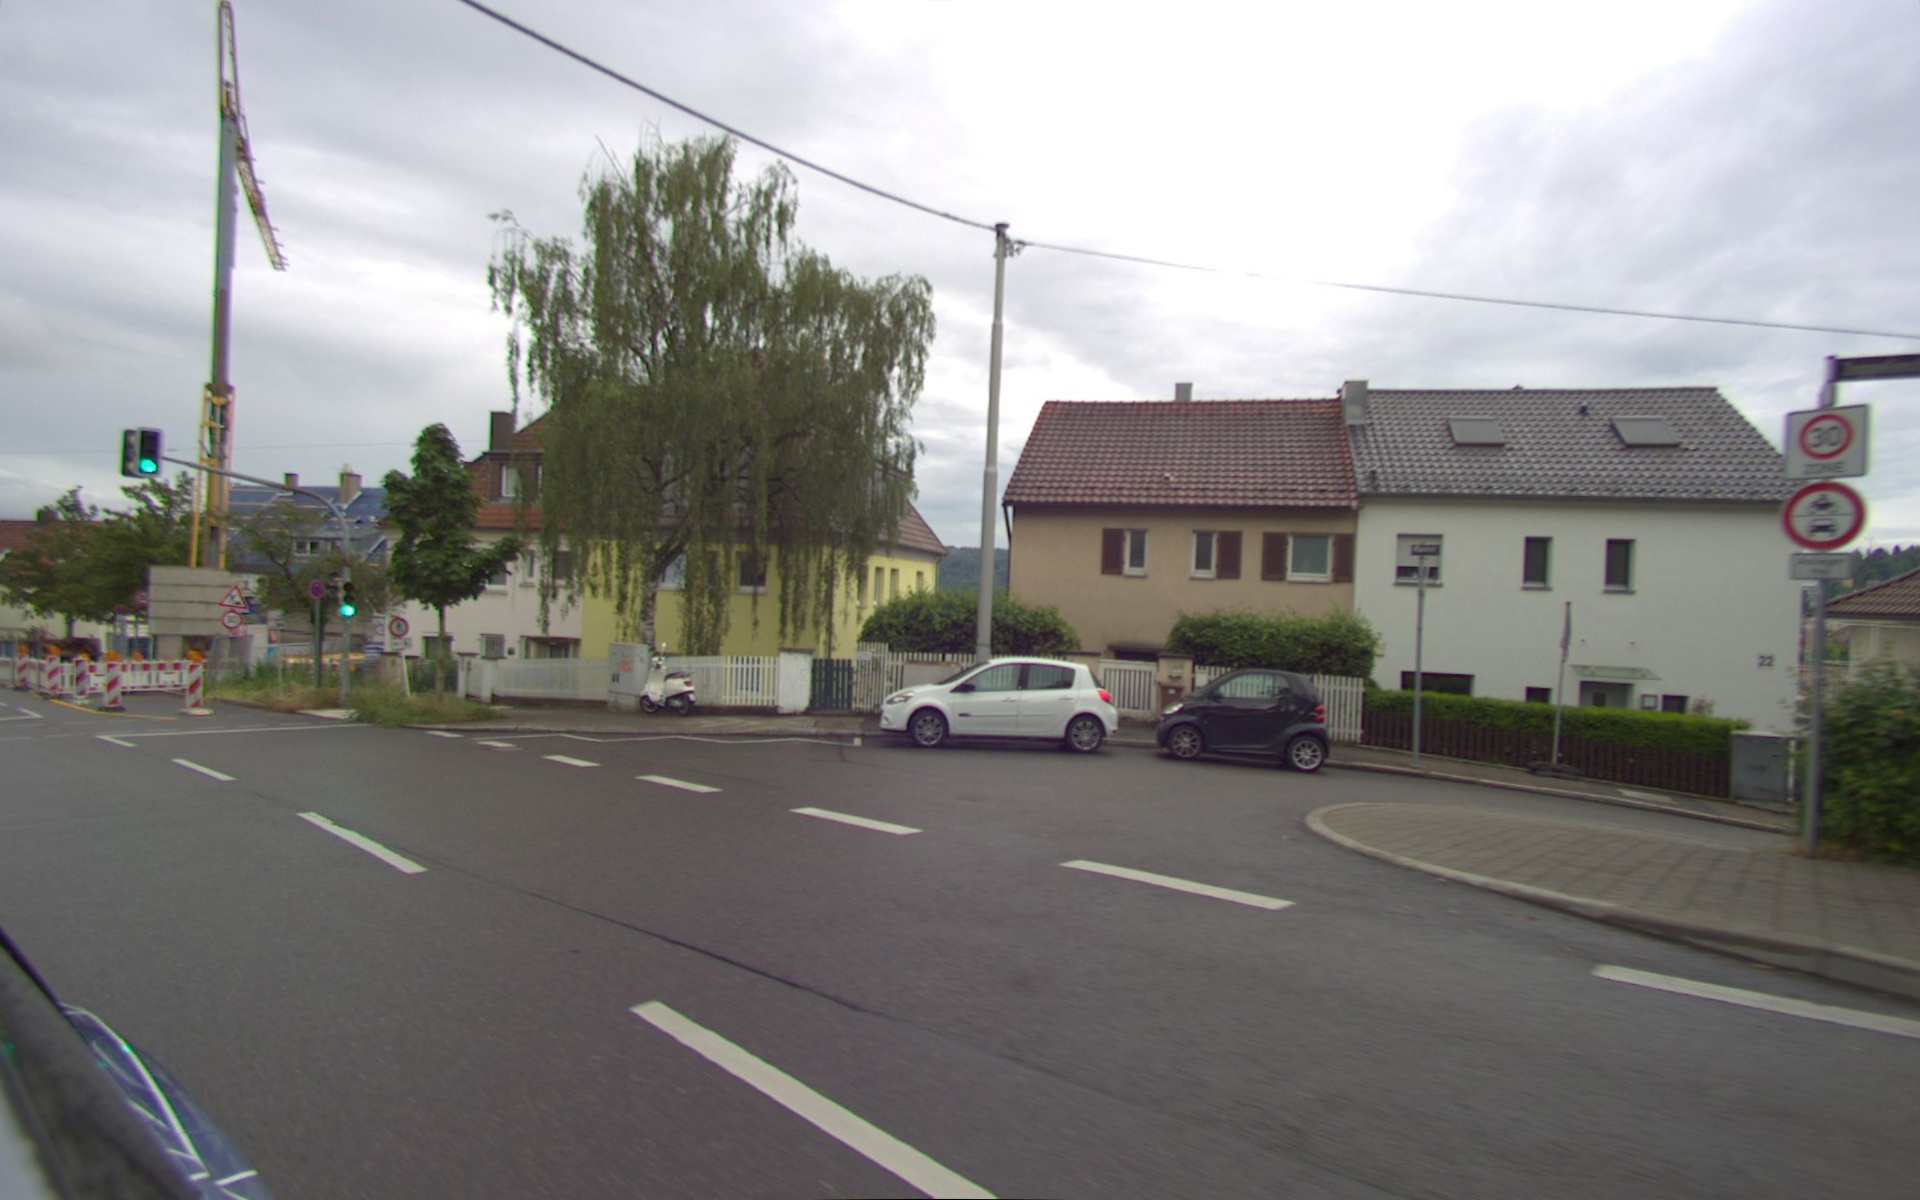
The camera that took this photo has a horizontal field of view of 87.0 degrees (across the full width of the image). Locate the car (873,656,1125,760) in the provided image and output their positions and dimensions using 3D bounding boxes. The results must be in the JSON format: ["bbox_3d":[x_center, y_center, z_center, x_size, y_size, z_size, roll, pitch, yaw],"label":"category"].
[{"bbox_3d":[0.608,1.768,16.869,3.955,1.520,1.689,2,-4,0],"label":"car"}]

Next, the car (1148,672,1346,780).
[{"bbox_3d":[4.579,1.983,16.407,2.891,1.441,1.558,3,-4,14],"label":"car"}]

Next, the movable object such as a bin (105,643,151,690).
[{"bbox_3d":[-45.566,3.622,55.434,1.375,2.525,1.309,-1,-4,18],"label":"movable object such as a bin"}]

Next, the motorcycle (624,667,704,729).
[{"bbox_3d":[-5.842,1.901,19.935,1.842,1.139,0.584,-3,-4,40],"label":"motorcycle"}]
